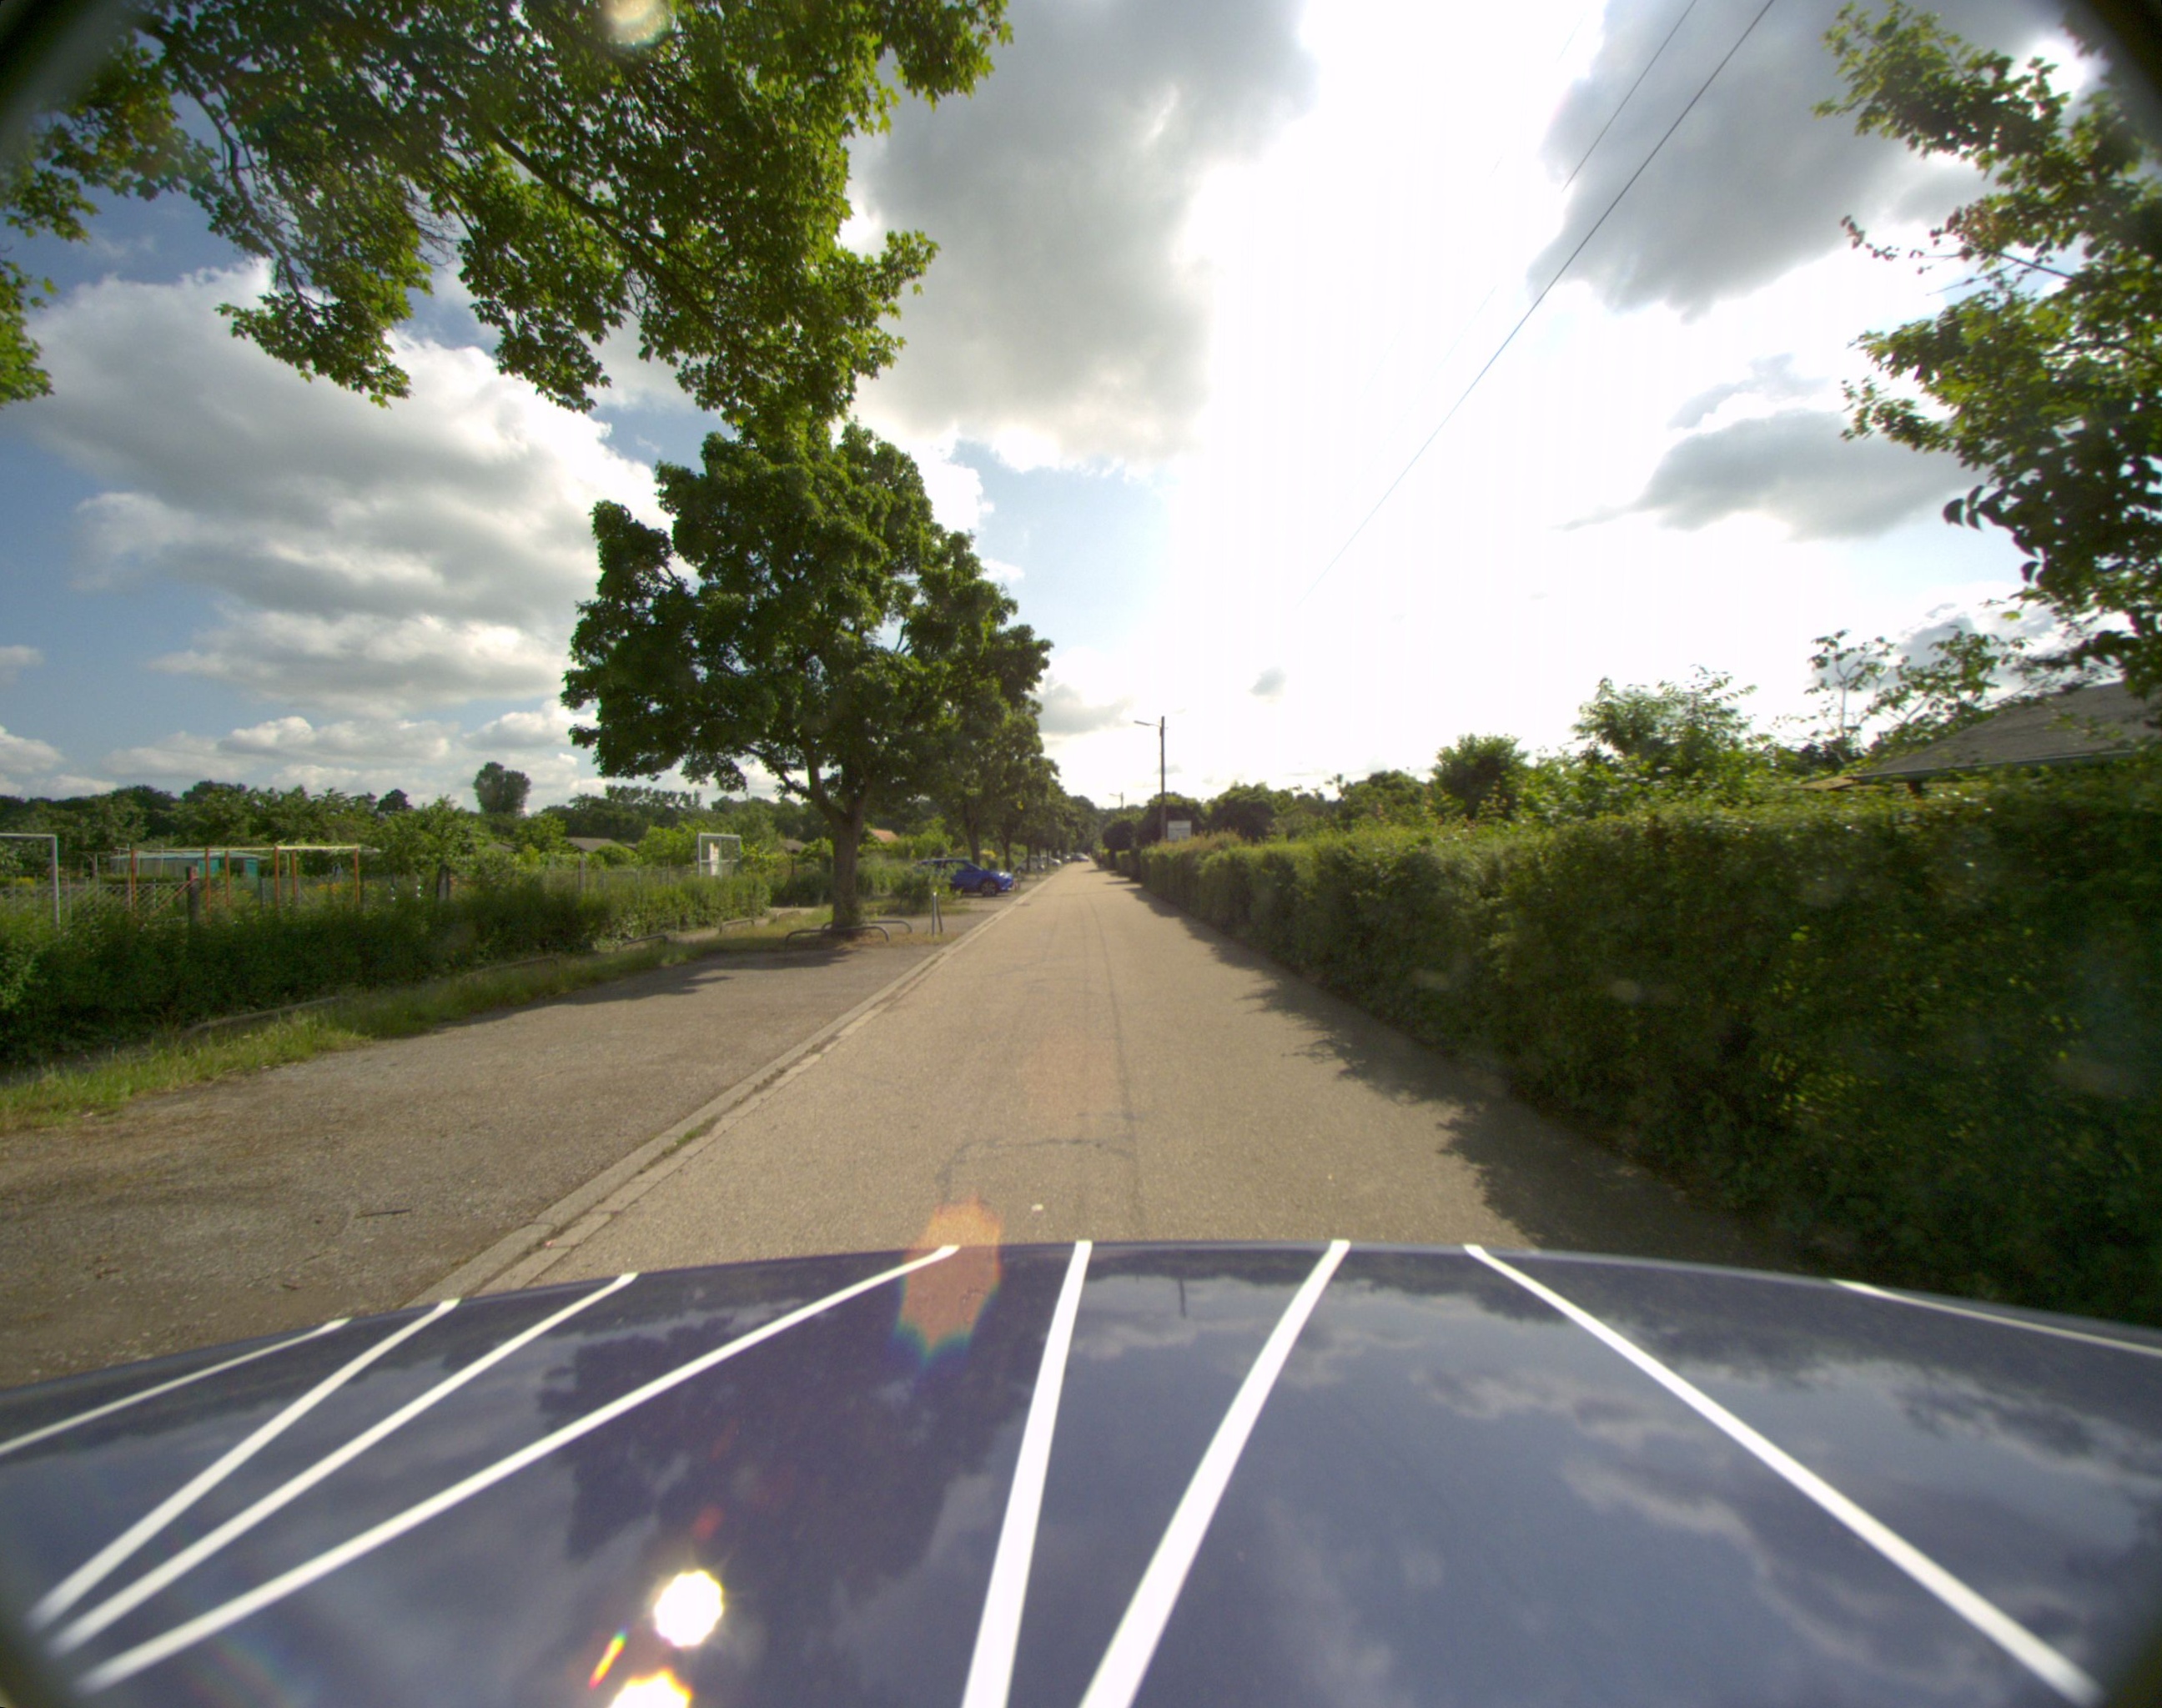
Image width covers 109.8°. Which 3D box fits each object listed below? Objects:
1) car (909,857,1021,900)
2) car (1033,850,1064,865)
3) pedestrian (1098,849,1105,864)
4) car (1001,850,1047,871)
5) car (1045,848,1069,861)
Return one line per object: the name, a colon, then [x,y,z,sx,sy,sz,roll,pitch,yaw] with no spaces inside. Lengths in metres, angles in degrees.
car: [-4.514,0.947,29.950,4.116,1.573,1.780,-1,1,-1]
car: [-4.189,0.438,98.537,3.929,1.740,2.000,-2,1,0]
pedestrian: [2.286,0.300,85.644,0.701,1.701,0.788,-2,1,0]
car: [-5.211,0.596,69.930,3.929,1.740,2.000,-2,1,0]
car: [-4.020,0.077,127.061,3.998,1.824,1.999,-2,1,-3]
